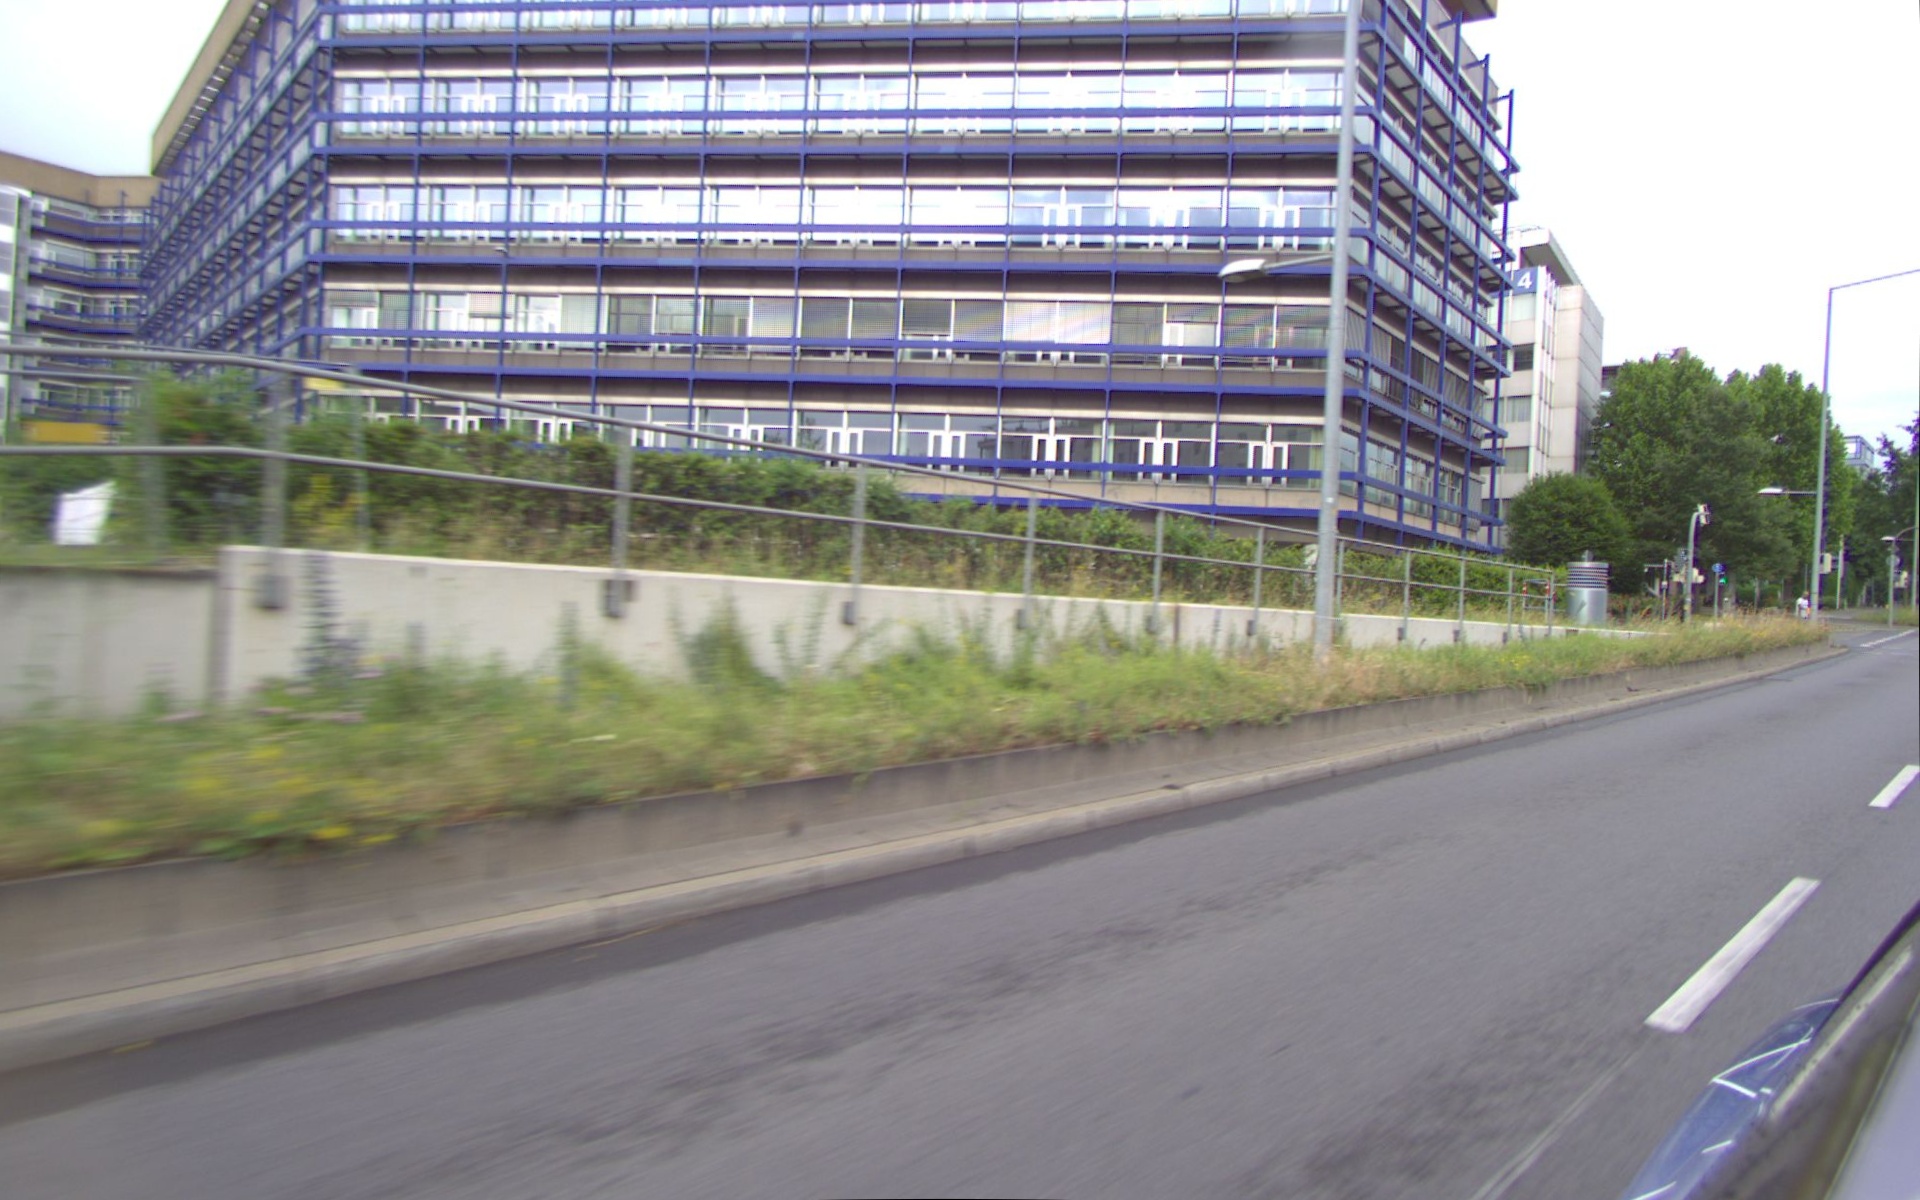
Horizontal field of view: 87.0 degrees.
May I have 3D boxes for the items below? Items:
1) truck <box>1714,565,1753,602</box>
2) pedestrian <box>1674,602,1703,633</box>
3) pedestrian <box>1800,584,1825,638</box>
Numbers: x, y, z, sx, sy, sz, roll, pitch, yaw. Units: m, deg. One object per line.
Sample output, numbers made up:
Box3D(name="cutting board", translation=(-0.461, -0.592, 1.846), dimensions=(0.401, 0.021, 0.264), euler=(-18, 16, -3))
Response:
Box3D(name="truck", translation=(54.911, -1.195, 71.809), dimensions=(1.746, 2.549, 3.937), euler=(0, 1, 44))
Box3D(name="pedestrian", translation=(37.801, 0.914, 52.502), dimensions=(0.784, 1.560, 0.905), euler=(1, 1, -4))
Box3D(name="pedestrian", translation=(27.150, 0.334, 32.233), dimensions=(0.553, 1.673, 0.821), euler=(2, 1, 38))
